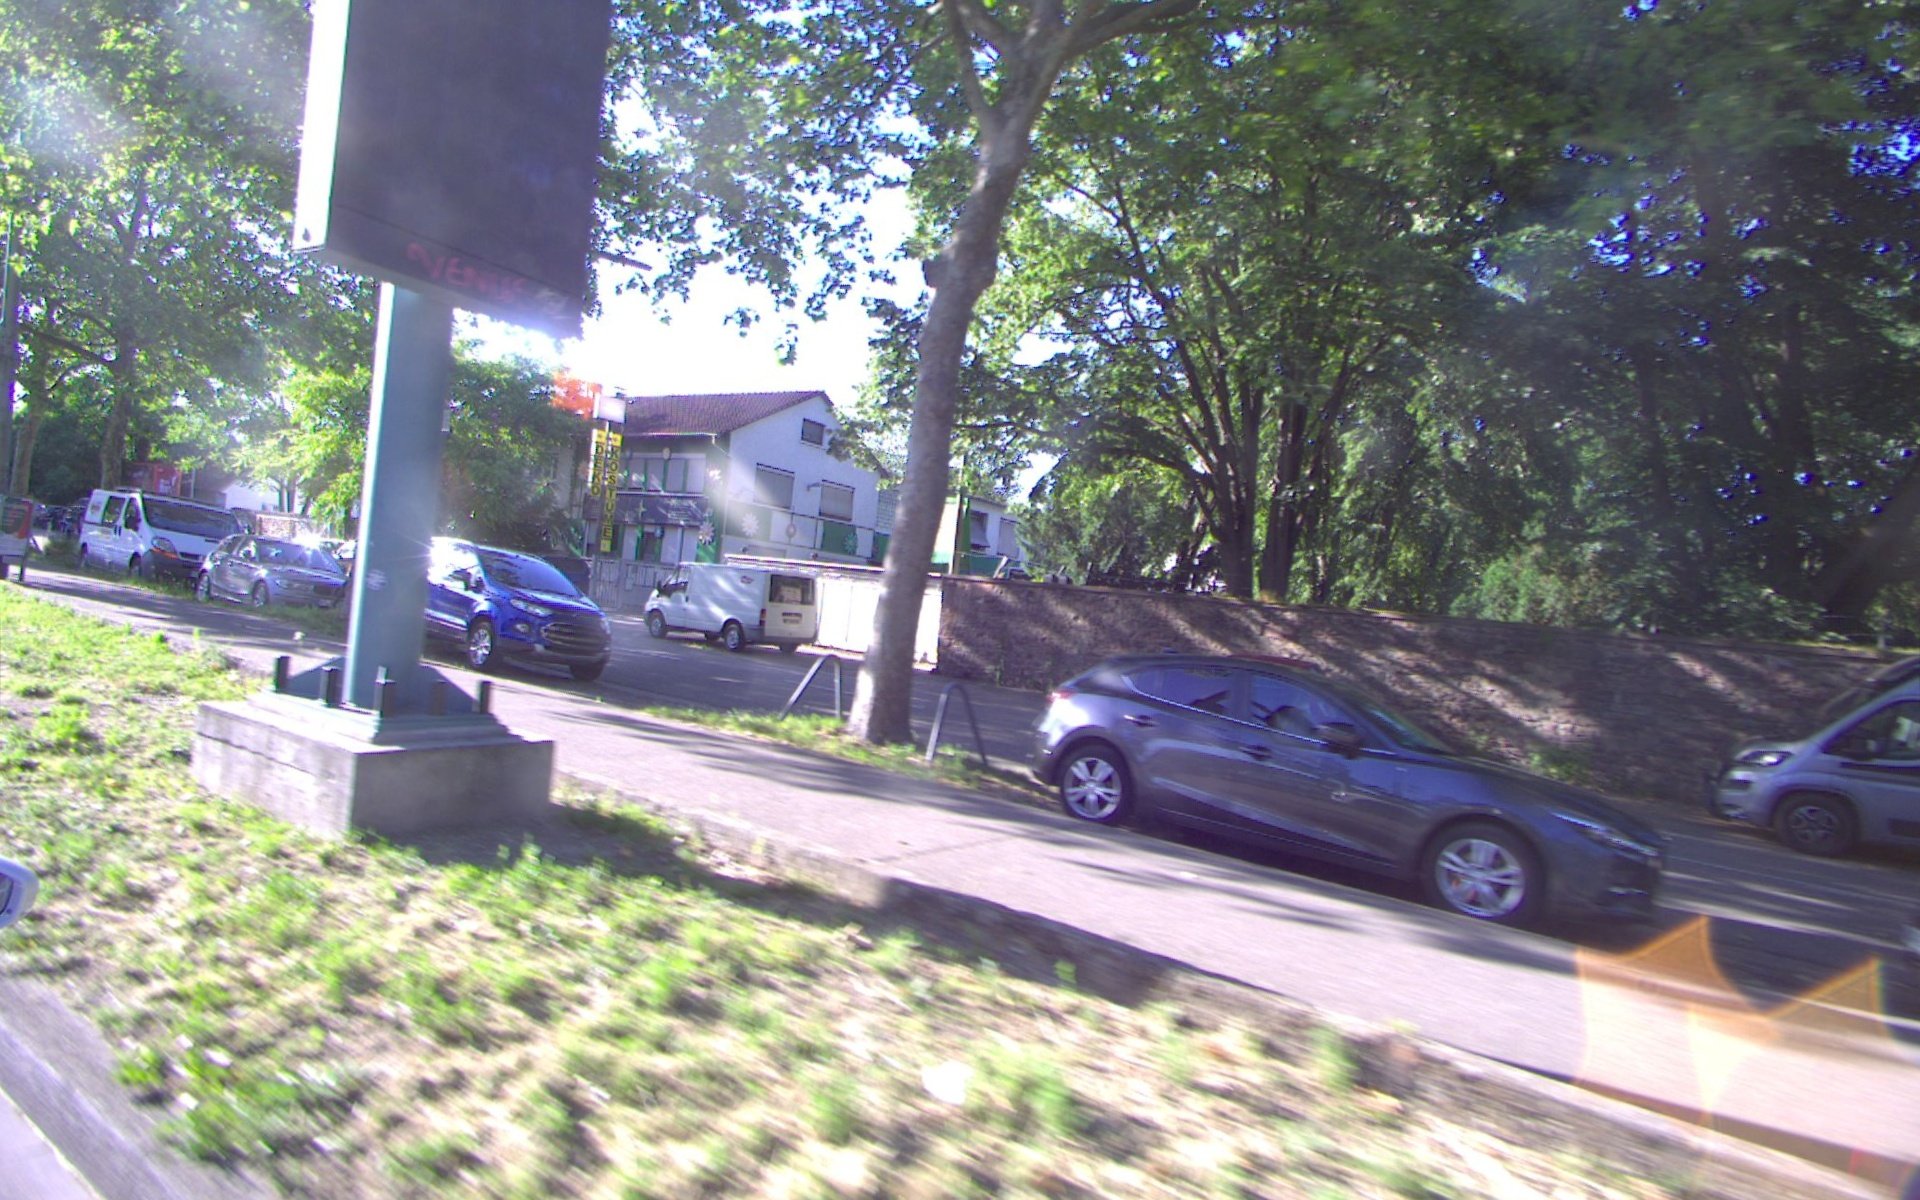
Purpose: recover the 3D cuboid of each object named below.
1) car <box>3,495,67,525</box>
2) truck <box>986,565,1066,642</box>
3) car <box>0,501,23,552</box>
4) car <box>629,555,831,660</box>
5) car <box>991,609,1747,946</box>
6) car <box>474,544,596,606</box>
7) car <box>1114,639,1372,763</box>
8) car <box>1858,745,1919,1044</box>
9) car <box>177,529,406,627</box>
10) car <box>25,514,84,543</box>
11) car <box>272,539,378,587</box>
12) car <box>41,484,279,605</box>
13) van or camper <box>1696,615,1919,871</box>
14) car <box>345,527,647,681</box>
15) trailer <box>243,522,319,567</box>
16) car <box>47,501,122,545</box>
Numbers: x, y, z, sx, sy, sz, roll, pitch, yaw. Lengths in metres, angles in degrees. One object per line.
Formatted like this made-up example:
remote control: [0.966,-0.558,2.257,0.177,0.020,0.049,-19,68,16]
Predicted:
car: [-57.937,-5.625,63.001,4.615,1.502,1.871,5,1,33]
truck: [3.274,0.187,49.915,2.675,3.308,2.481,7,-1,39]
car: [-31.510,-2.476,32.102,2.942,1.518,1.664,5,-2,35]
car: [-5.762,0.156,24.930,4.867,2.038,2.087,6,-1,37]
car: [2.753,1.061,7.448,4.604,1.397,1.996,6,-3,35]
car: [-17.047,-0.966,40.528,1.819,1.871,4.091,6,-3,32]
car: [4.668,1.583,16.810,3.701,1.491,1.688,6,1,37]
car: [6.702,1.673,4.380,3.822,1.454,1.796,5,-2,34]
car: [-12.275,-0.423,18.425,3.987,1.304,1.997,5,-3,33]
car: [-53.623,-4.244,59.547,4.247,1.389,1.729,5,1,36]
car: [-24.762,-1.456,39.181,4.258,1.502,1.992,5,1,36]
car: [-17.382,-1.231,21.764,5.726,2.037,2.193,5,-2,33]
van or camper: [12.690,1.881,11.660,6.464,2.719,2.554,6,2,37]
car: [-6.623,0.022,14.216,4.283,1.661,1.739,5,-2,33]
trailer: [-28.838,-2.364,42.699,2.977,1.662,1.729,5,1,36]
car: [-48.114,-4.237,55.267,4.615,2.028,1.871,5,1,33]
